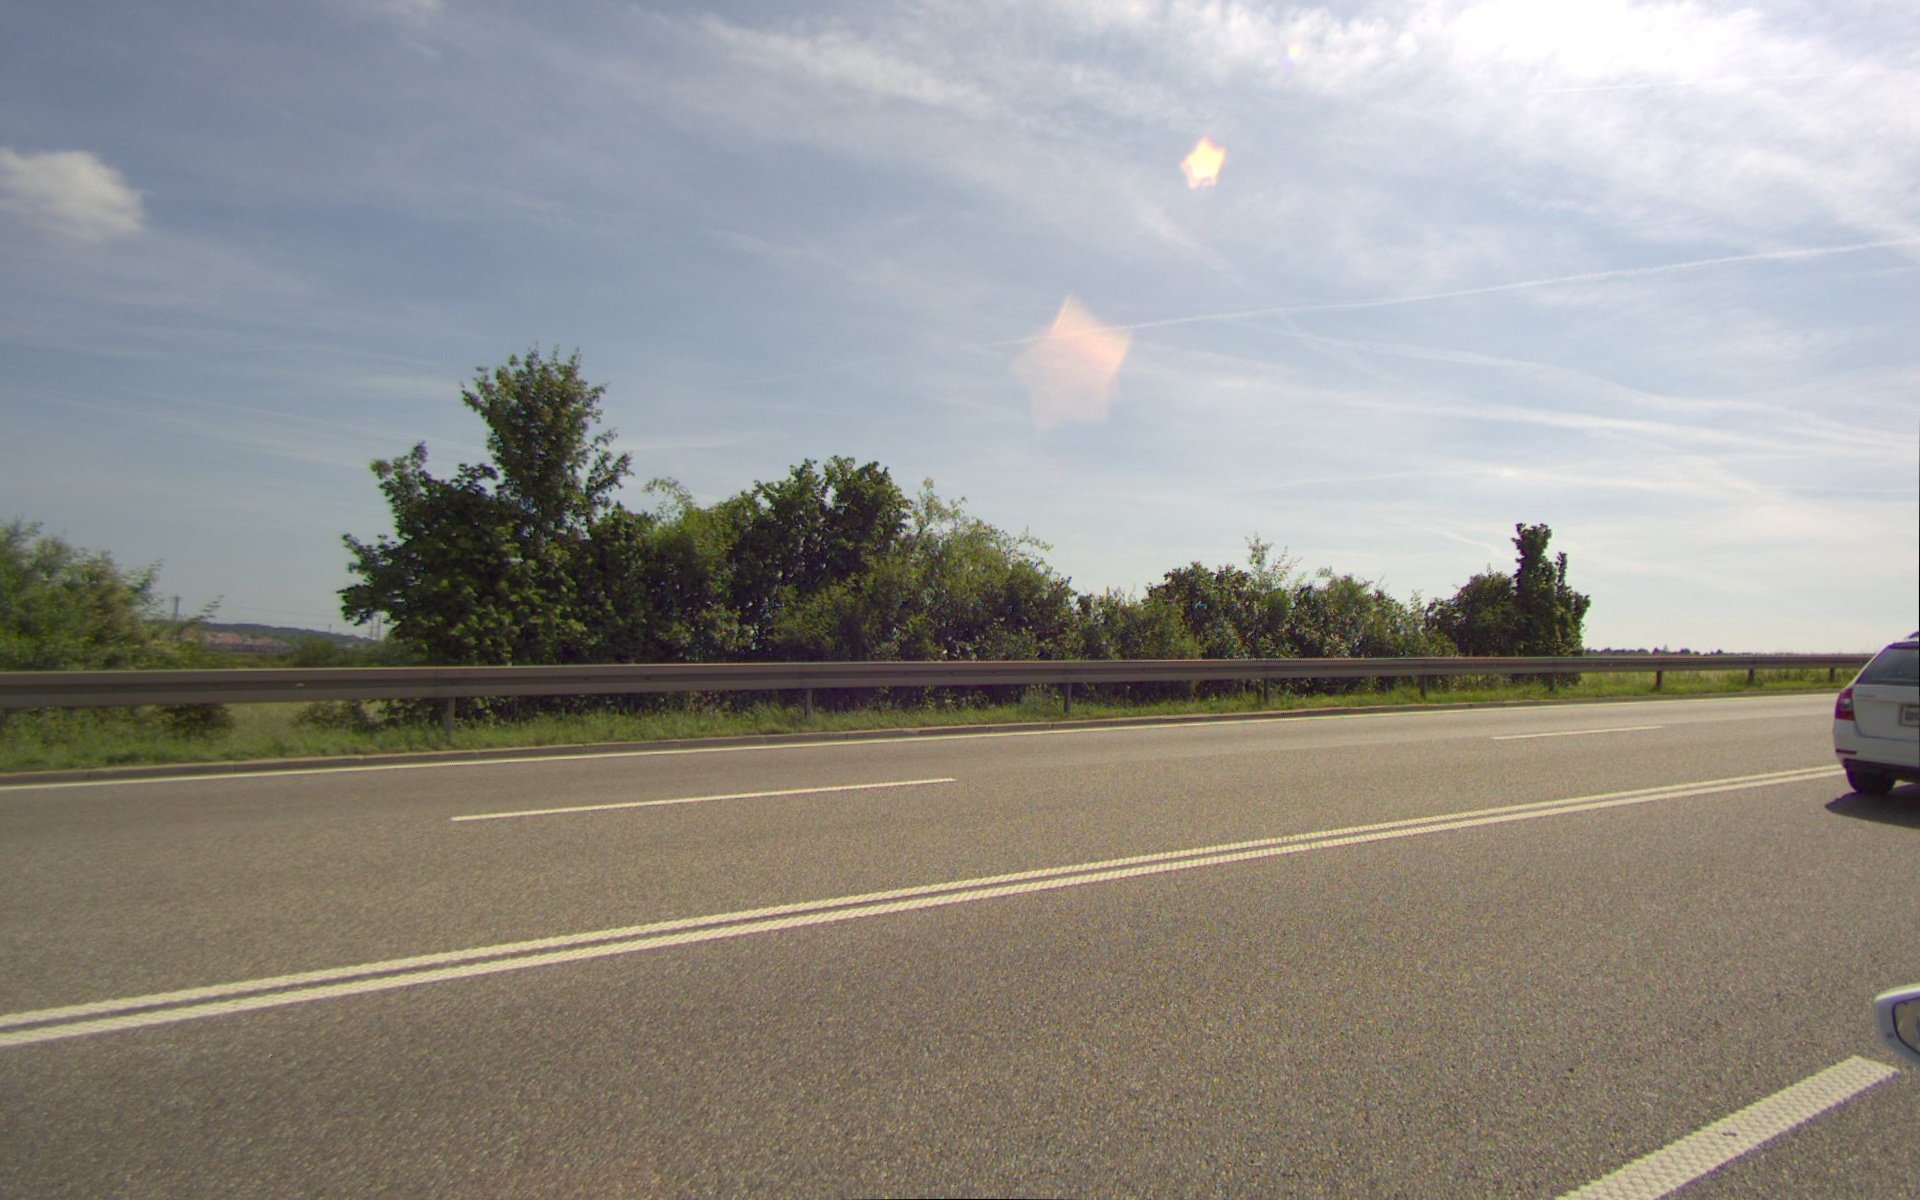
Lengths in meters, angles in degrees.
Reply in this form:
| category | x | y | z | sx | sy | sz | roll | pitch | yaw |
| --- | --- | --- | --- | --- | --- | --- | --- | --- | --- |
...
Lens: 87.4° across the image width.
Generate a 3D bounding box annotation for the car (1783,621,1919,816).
| category | x | y | z | sx | sy | sz | roll | pitch | yaw |
| --- | --- | --- | --- | --- | --- | --- | --- | --- | --- |
| car | 9.553 | 0.979 | 8.970 | 4.730 | 1.492 | 1.813 | 1 | 0 | -29 |
